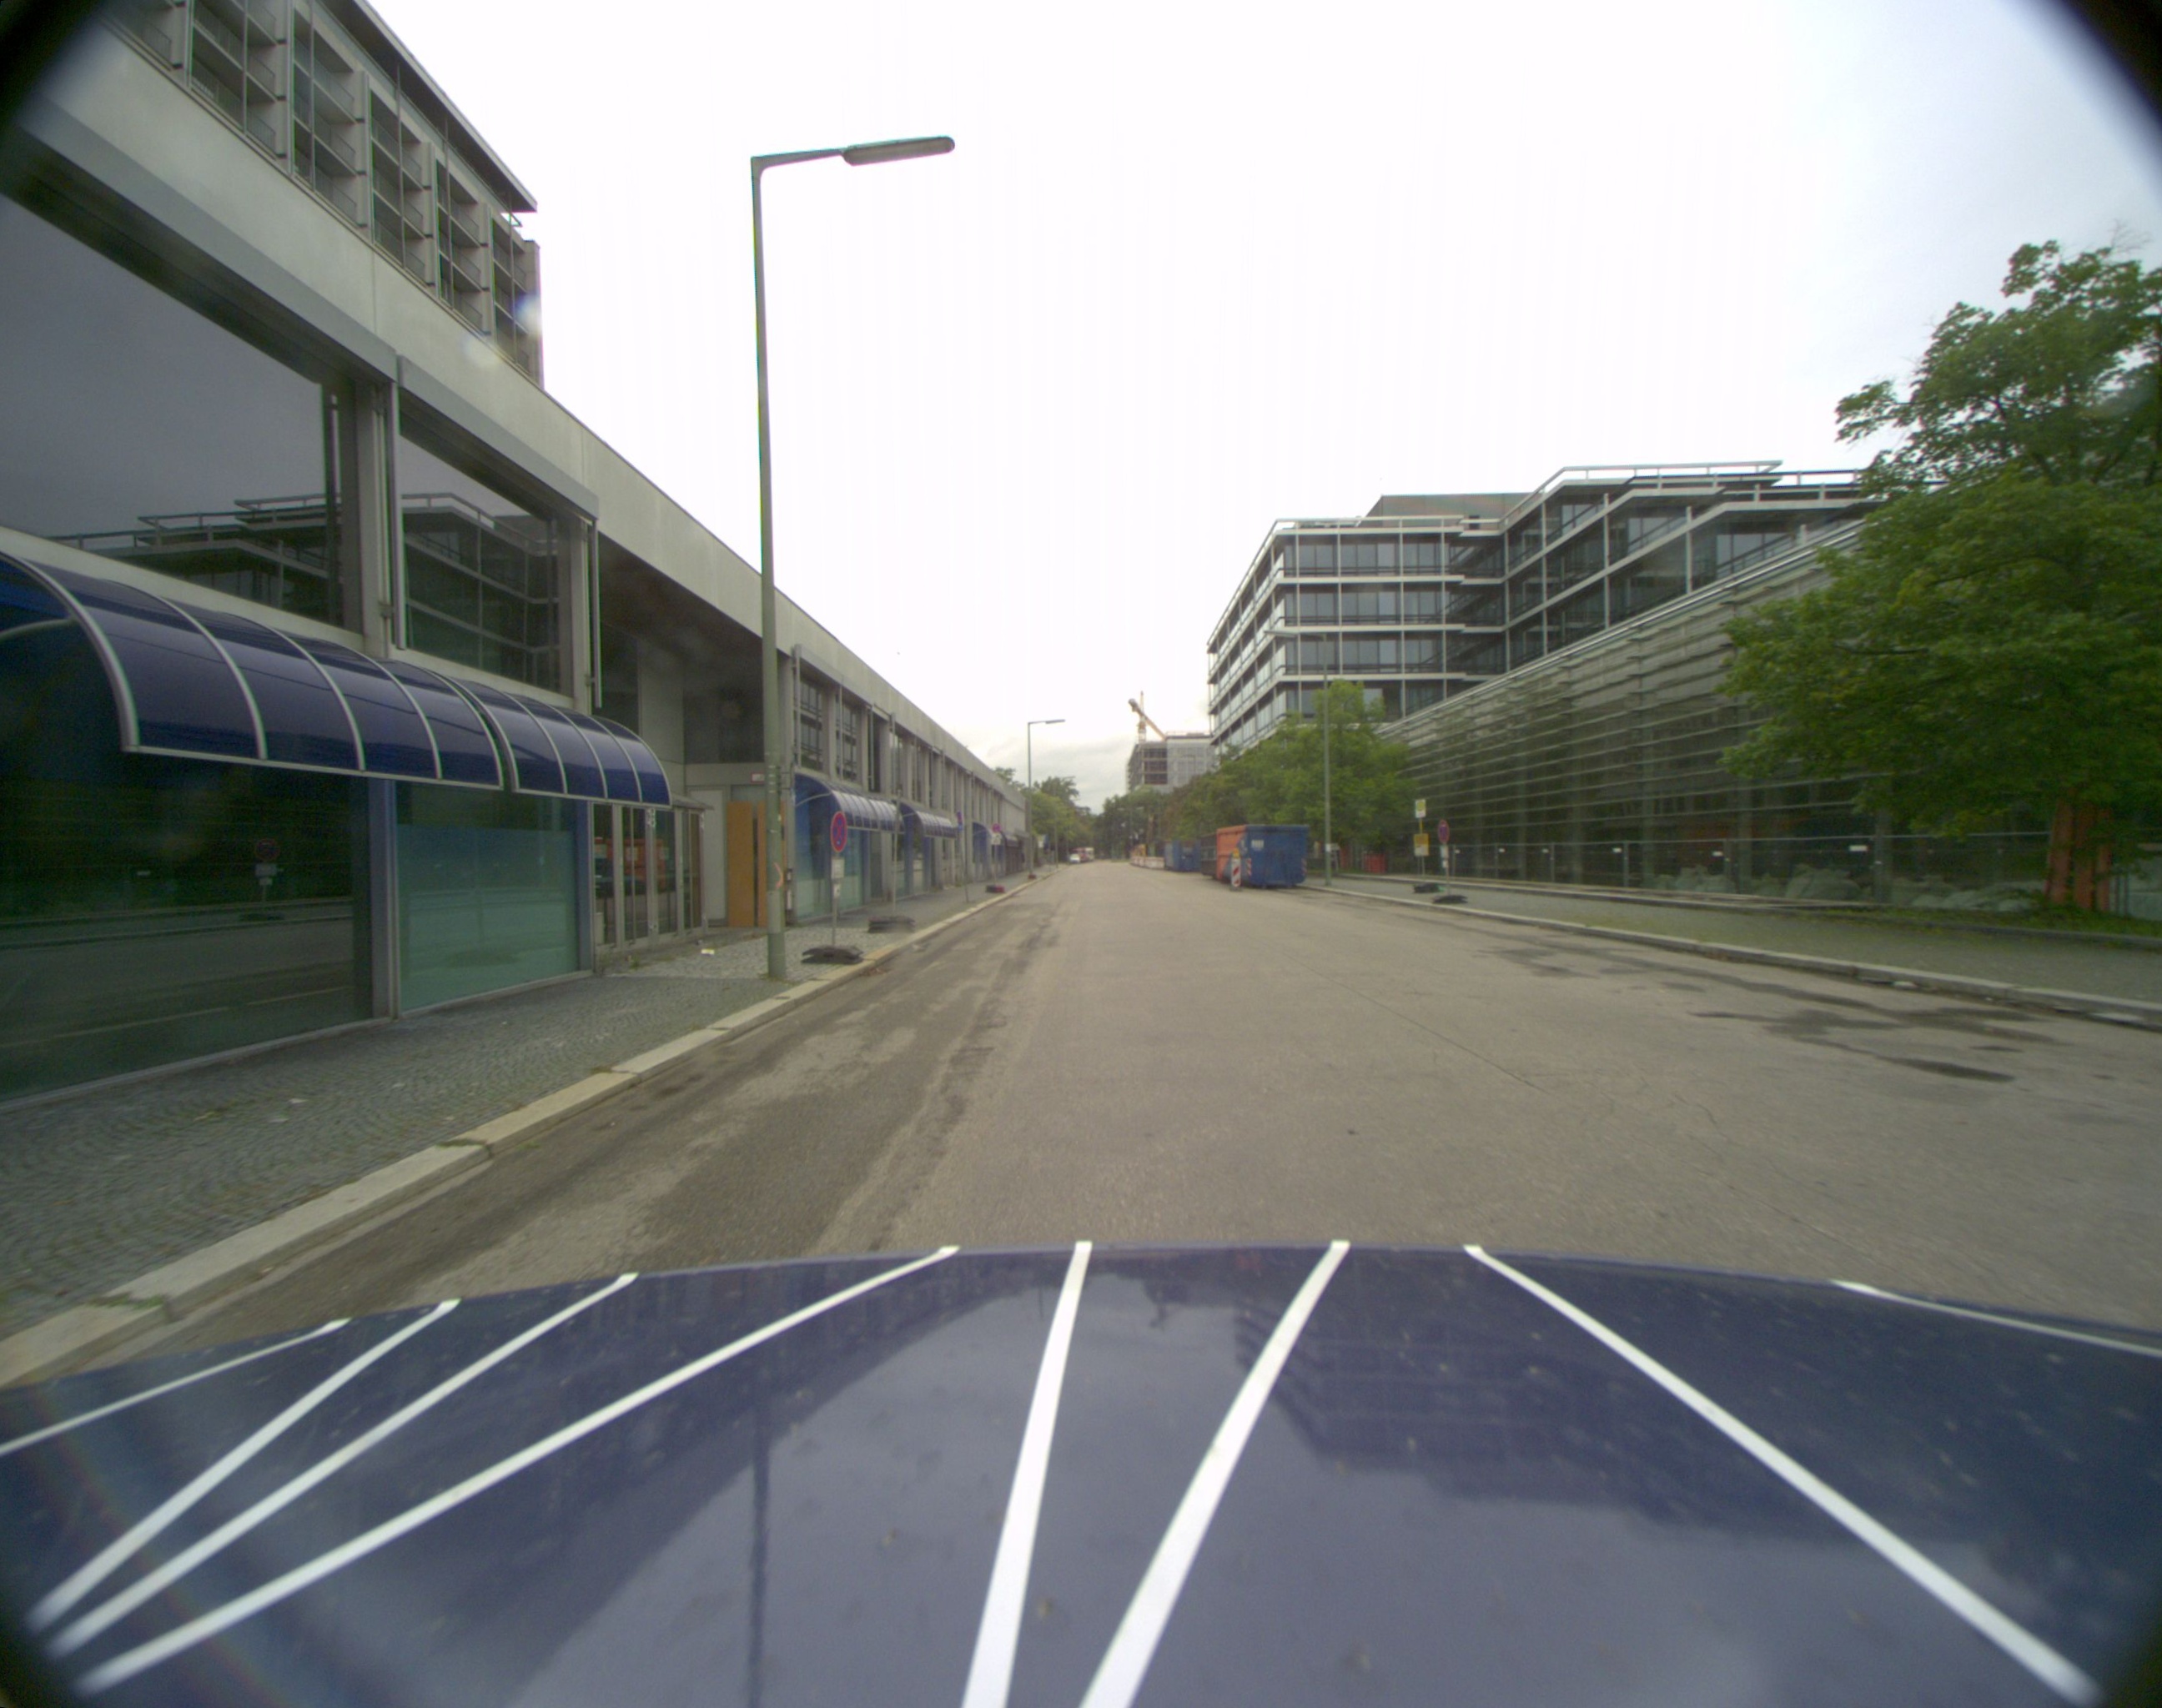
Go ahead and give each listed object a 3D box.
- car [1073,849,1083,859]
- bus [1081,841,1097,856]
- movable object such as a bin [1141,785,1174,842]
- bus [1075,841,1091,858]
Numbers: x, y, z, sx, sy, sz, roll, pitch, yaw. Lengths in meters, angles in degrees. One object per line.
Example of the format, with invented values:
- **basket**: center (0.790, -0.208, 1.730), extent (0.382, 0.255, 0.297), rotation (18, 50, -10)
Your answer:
- **car**: center (-0.513, -0.027, 122.430), extent (1.536, 1.483, 4.059), rotation (-1, 1, -1)
- **bus**: center (1.570, -1.004, 143.788), extent (2.076, 2.714, 5.871), rotation (-1, 1, 10)
- **movable object such as a bin**: center (9.170, -4.700, 92.592), extent (2.911, 6.527, 11.782), rotation (-1, 1, 1)
- **bus**: center (0.323, -0.809, 129.884), extent (2.077, 2.789, 6.274), rotation (-1, 1, 6)
